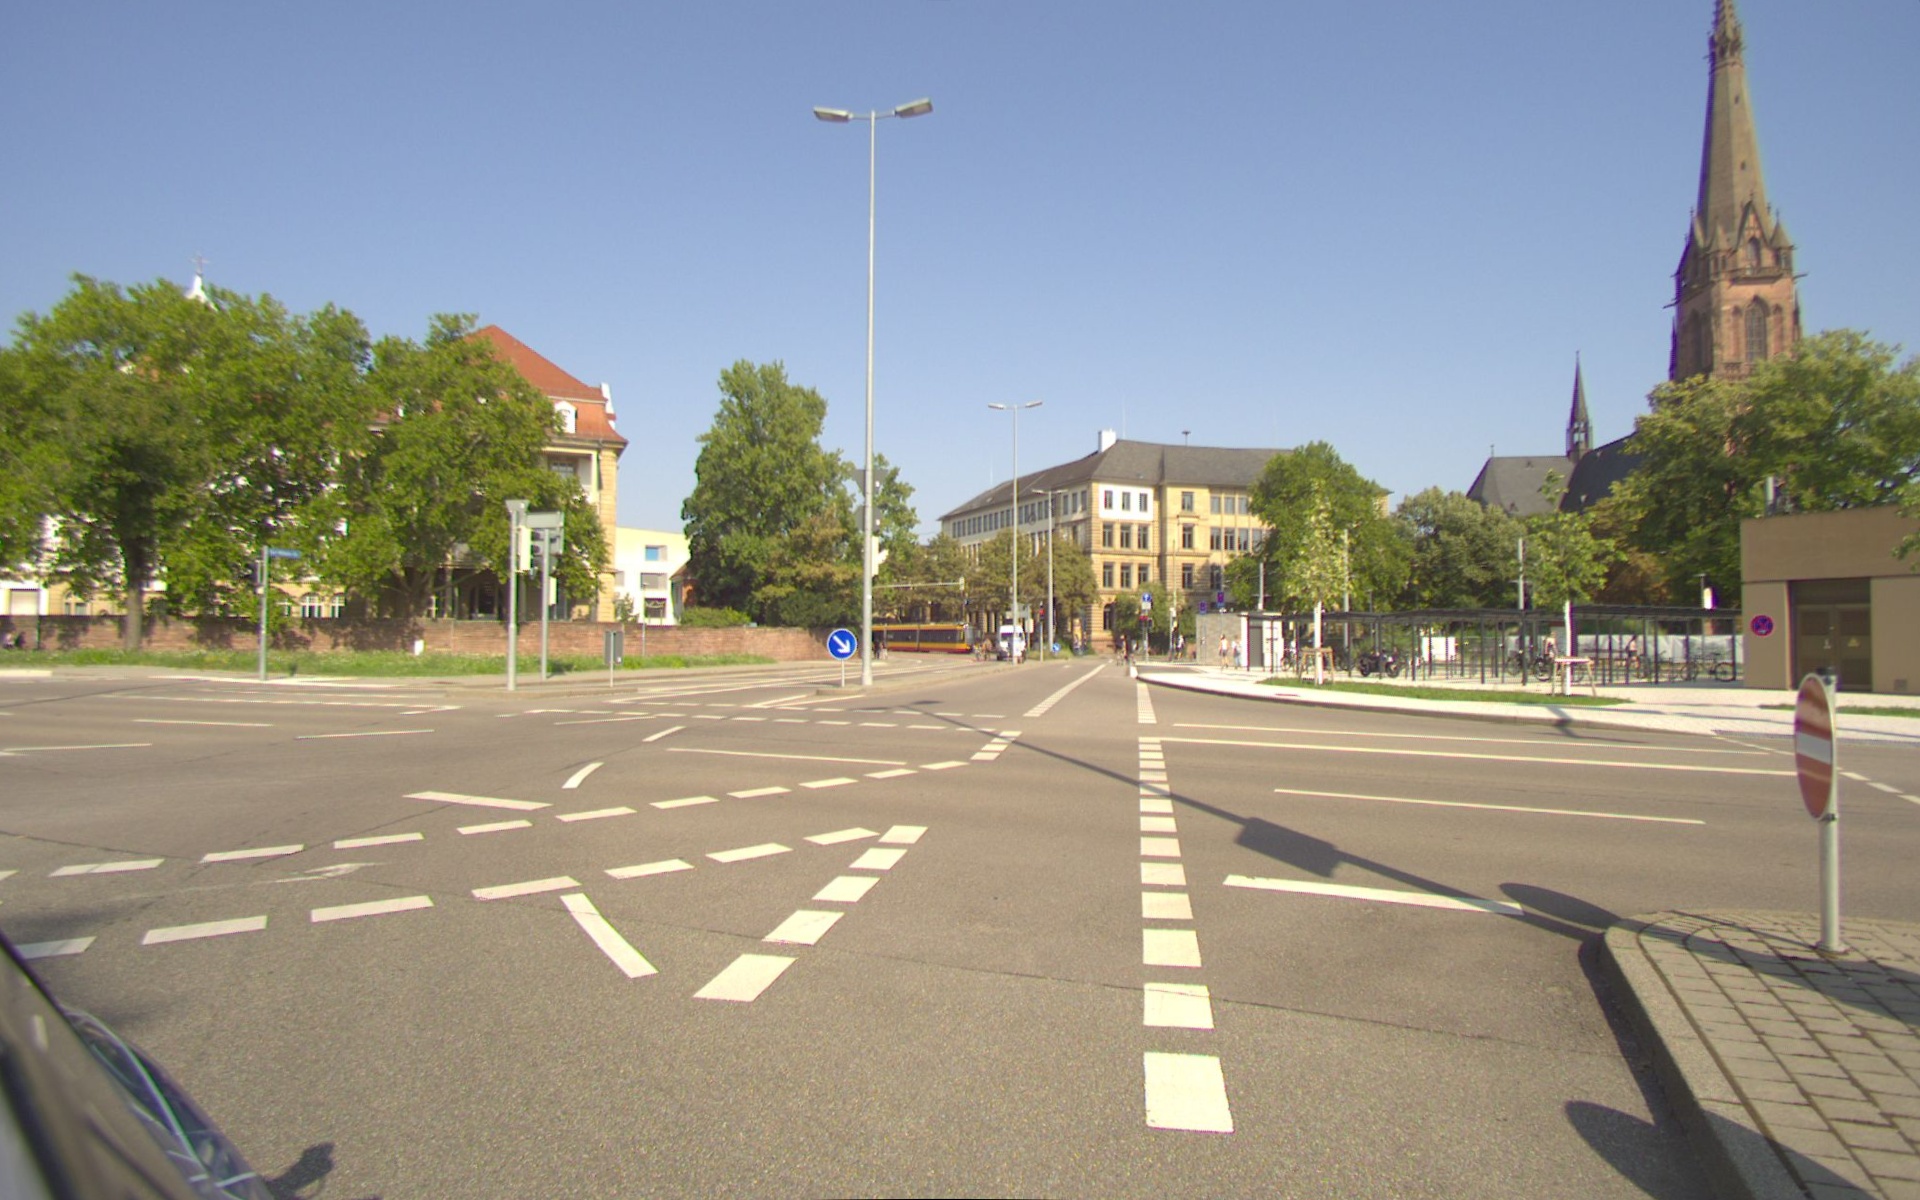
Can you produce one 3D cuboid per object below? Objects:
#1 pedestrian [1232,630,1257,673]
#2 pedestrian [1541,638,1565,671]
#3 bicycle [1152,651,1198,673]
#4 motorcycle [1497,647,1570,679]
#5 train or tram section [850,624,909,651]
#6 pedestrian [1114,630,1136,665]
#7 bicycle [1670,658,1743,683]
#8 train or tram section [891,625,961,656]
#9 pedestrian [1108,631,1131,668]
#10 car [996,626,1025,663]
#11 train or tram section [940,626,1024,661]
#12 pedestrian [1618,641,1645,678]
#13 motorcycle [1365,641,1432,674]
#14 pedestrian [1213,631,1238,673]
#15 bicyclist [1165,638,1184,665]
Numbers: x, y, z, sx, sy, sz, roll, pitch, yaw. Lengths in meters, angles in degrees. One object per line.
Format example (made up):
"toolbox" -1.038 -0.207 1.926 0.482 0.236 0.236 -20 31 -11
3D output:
"pedestrian" 13.626 2.450 48.565 0.849 2.029 1.008 0 -3 -3
"pedestrian" 25.321 2.325 43.196 0.680 1.419 0.590 2 -3 -29
"bicycle" 14.376 4.117 67.605 2.822 1.383 1.037 -1 0 1
"motorcycle" 22.531 2.454 39.788 0.747 1.214 2.381 2 -3 -34
"train or tram section" -10.706 4.812 132.438 2.590 3.241 13.936 -1 0 -27
"pedestrian" 9.712 2.813 59.582 1.200 2.029 1.337 -1 -3 14
"bicycle" 25.697 2.425 34.860 0.619 0.786 1.934 2 -3 -30
"train or tram section" -4.263 4.750 120.070 2.590 3.241 13.936 -1 0 -27
"pedestrian" 9.105 2.816 57.625 1.200 2.029 1.337 -1 -3 14
"car" 3.772 3.240 75.065 1.975 2.470 5.544 -1 0 5
"train or tram section" 2.073 4.553 107.691 2.590 3.241 13.936 -1 0 -27
"pedestrian" 25.967 2.305 39.116 0.680 1.419 0.590 2 -3 -29
"motorcycle" 19.671 2.559 45.424 0.776 1.460 2.777 2 -3 -33
"pedestrian" 12.733 2.495 48.579 0.849 2.029 1.008 0 -3 -3
"bicyclist" 14.333 3.424 67.612 1.035 1.732 1.038 -1 0 1
